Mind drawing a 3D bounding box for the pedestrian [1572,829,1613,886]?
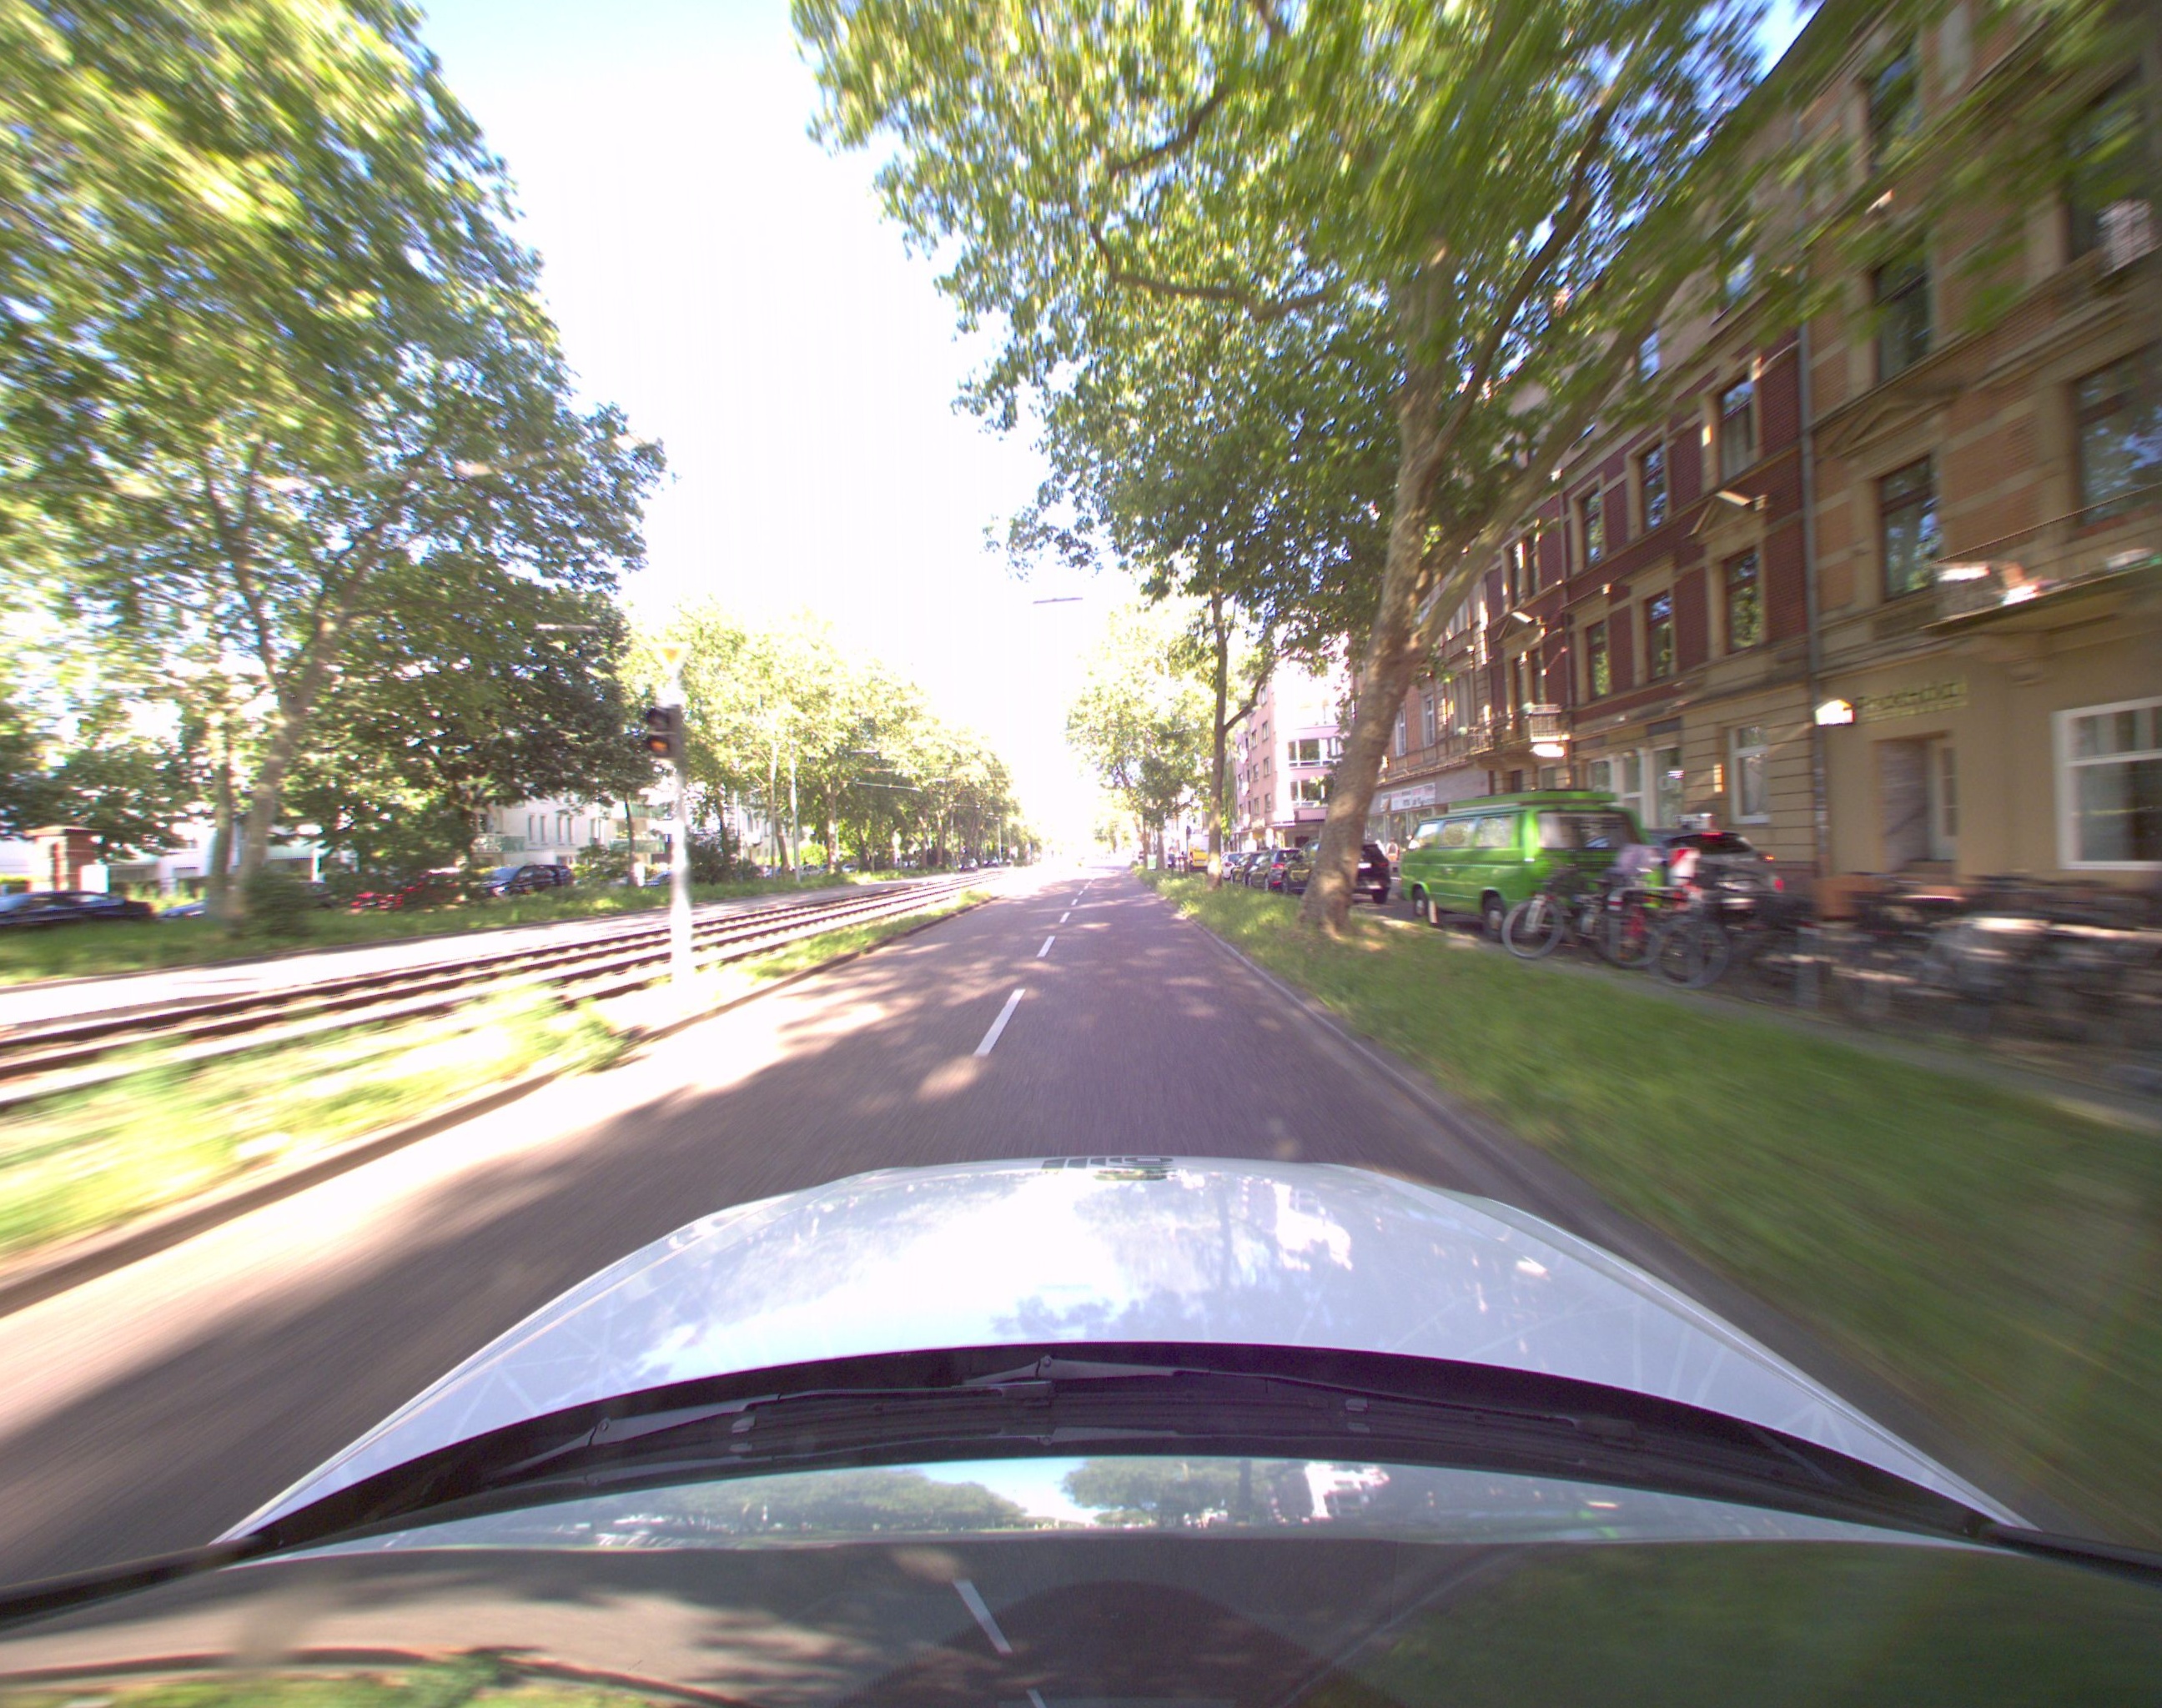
[{"bbox_3d":[13.653,0.091,21.749,0.595,1.476,0.768,-2,0,2],"label":"pedestrian"}]

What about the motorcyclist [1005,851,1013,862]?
[{"bbox_3d":[-10.744,0.393,121.759,0.940,1.513,0.959,-2,0,2],"label":"motorcyclist"}]

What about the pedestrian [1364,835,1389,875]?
[{"bbox_3d":[13.203,0.047,36.441,0.688,1.755,1.080,-2,0,2],"label":"pedestrian"}]

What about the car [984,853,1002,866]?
[{"bbox_3d":[-13.644,0.817,126.217,1.985,1.870,4.876,-4,0,3],"label":"car"}]

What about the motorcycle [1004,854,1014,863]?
[{"bbox_3d":[-10.736,0.701,121.845,0.960,1.212,3.353,-2,0,2],"label":"motorcycle"}]

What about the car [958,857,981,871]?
[{"bbox_3d":[-13.104,1.169,96.221,1.788,1.508,4.341,-5,0,3],"label":"car"}]

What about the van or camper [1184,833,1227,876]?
[{"bbox_3d":[7.579,0.035,50.092,2.174,2.480,6.275,0,0,4],"label":"van or camper"}]

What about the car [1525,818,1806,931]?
[{"bbox_3d":[9.390,0.293,13.573,1.747,1.579,4.185,1,0,1],"label":"car"}]

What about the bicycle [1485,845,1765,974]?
[{"bbox_3d":[6.016,0.580,9.099,2.545,1.294,0.973,-1,0,-6],"label":"bicycle"}]

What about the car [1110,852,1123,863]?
[{"bbox_3d":[5.712,0.582,132.153,2.014,1.662,4.001,-2,0,1],"label":"car"}]

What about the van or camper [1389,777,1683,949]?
[{"bbox_3d":[6.505,0.121,12.404,1.828,2.098,4.773,1,0,0],"label":"van or camper"}]

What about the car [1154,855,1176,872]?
[{"bbox_3d":[8.040,0.889,77.905,1.678,1.514,3.666,-1,0,-1],"label":"car"}]

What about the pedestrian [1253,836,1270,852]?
[{"bbox_3d":[14.480,-0.772,65.308,1.138,1.256,0.749,-2,0,2],"label":"pedestrian"}]

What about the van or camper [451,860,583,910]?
[{"bbox_3d":[-25.597,1.346,37.241,2.258,2.013,5.218,-2,0,1],"label":"van or camper"}]

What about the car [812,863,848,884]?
[{"bbox_3d":[-24.327,1.874,79.028,1.813,1.836,4.556,-2,0,2],"label":"car"}]

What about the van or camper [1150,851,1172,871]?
[{"bbox_3d":[8.084,0.718,83.094,1.833,1.963,5.128,-1,0,1],"label":"van or camper"}]

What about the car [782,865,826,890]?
[{"bbox_3d":[-24.588,2.058,72.515,1.985,2.013,4.689,-2,0,4],"label":"car"}]

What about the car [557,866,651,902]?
[{"bbox_3d":[-25.443,1.553,43.650,2.022,1.598,5.085,-4,0,-1],"label":"car"}]

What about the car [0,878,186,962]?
[{"bbox_3d":[-25.882,1.615,20.173,2.102,1.809,4.738,-2,0,0],"label":"car"}]

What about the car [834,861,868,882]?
[{"bbox_3d":[-24.252,1.783,86.011,1.986,2.013,4.686,-2,0,2],"label":"car"}]

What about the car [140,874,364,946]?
[{"bbox_3d":[-25.729,1.655,25.590,2.102,1.809,4.737,-2,0,0],"label":"car"}]

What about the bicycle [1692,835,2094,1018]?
[{"bbox_3d":[6.285,0.531,6.431,2.156,1.294,0.983,-1,0,1],"label":"bicycle"}]

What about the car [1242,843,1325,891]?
[{"bbox_3d":[6.635,0.395,27.115,1.731,1.464,4.365,1,0,1],"label":"car"}]

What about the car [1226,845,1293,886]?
[{"bbox_3d":[6.891,0.420,31.859,1.747,1.496,4.185,1,0,1],"label":"car"}]

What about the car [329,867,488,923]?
[{"bbox_3d":[-25.674,1.506,31.389,2.102,1.809,4.738,-2,0,0],"label":"car"}]

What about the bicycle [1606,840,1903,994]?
[{"bbox_3d":[6.326,0.545,7.718,2.163,1.294,0.980,-1,0,-9],"label":"bicycle"}]

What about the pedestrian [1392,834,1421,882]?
[{"bbox_3d":[12.477,0.146,31.267,0.689,1.788,0.958,-2,-1,2],"label":"pedestrian"}]

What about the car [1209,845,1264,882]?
[{"bbox_3d":[6.947,0.421,36.803,1.747,1.572,4.185,1,0,1],"label":"car"}]

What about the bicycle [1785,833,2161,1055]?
[{"bbox_3d":[6.097,0.528,5.284,2.155,1.294,0.984,-1,0,3],"label":"bicycle"}]

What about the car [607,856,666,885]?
[{"bbox_3d":[-33.643,1.204,61.762,1.985,2.013,4.003,-2,0,3],"label":"car"}]

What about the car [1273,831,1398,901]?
[{"bbox_3d":[6.661,0.300,21.925,1.884,1.647,4.800,1,0,0],"label":"car"}]

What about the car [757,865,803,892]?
[{"bbox_3d":[-24.662,1.965,66.940,1.985,2.013,4.106,-2,0,3],"label":"car"}]
